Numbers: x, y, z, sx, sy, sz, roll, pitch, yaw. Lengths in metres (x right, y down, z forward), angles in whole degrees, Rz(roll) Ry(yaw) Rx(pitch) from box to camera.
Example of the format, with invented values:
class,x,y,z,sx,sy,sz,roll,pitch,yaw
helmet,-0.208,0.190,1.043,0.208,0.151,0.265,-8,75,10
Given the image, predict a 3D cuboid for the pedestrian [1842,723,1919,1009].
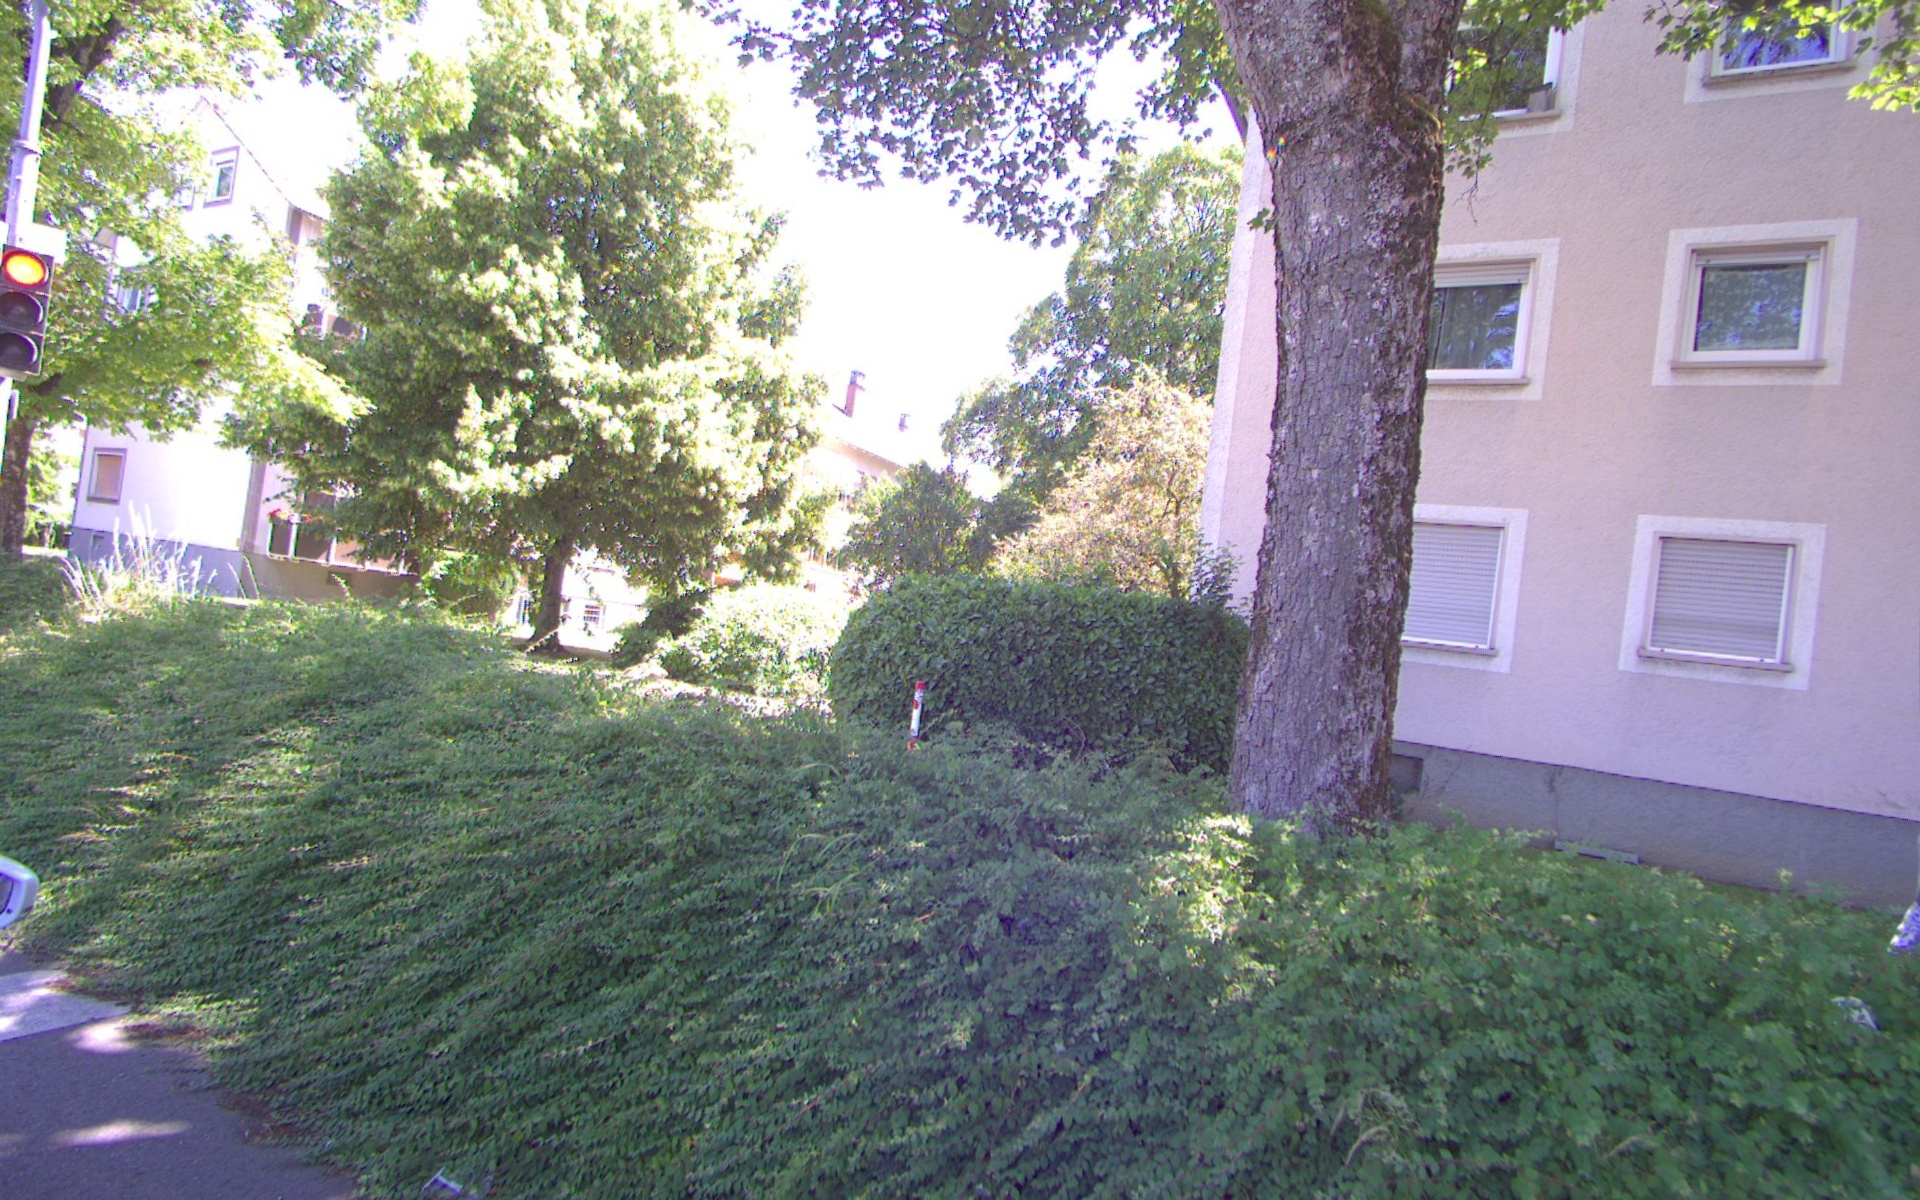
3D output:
class,x,y,z,sx,sy,sz,roll,pitch,yaw
pedestrian,5.080,1.347,4.969,0.874,1.350,0.663,6,-1,31
